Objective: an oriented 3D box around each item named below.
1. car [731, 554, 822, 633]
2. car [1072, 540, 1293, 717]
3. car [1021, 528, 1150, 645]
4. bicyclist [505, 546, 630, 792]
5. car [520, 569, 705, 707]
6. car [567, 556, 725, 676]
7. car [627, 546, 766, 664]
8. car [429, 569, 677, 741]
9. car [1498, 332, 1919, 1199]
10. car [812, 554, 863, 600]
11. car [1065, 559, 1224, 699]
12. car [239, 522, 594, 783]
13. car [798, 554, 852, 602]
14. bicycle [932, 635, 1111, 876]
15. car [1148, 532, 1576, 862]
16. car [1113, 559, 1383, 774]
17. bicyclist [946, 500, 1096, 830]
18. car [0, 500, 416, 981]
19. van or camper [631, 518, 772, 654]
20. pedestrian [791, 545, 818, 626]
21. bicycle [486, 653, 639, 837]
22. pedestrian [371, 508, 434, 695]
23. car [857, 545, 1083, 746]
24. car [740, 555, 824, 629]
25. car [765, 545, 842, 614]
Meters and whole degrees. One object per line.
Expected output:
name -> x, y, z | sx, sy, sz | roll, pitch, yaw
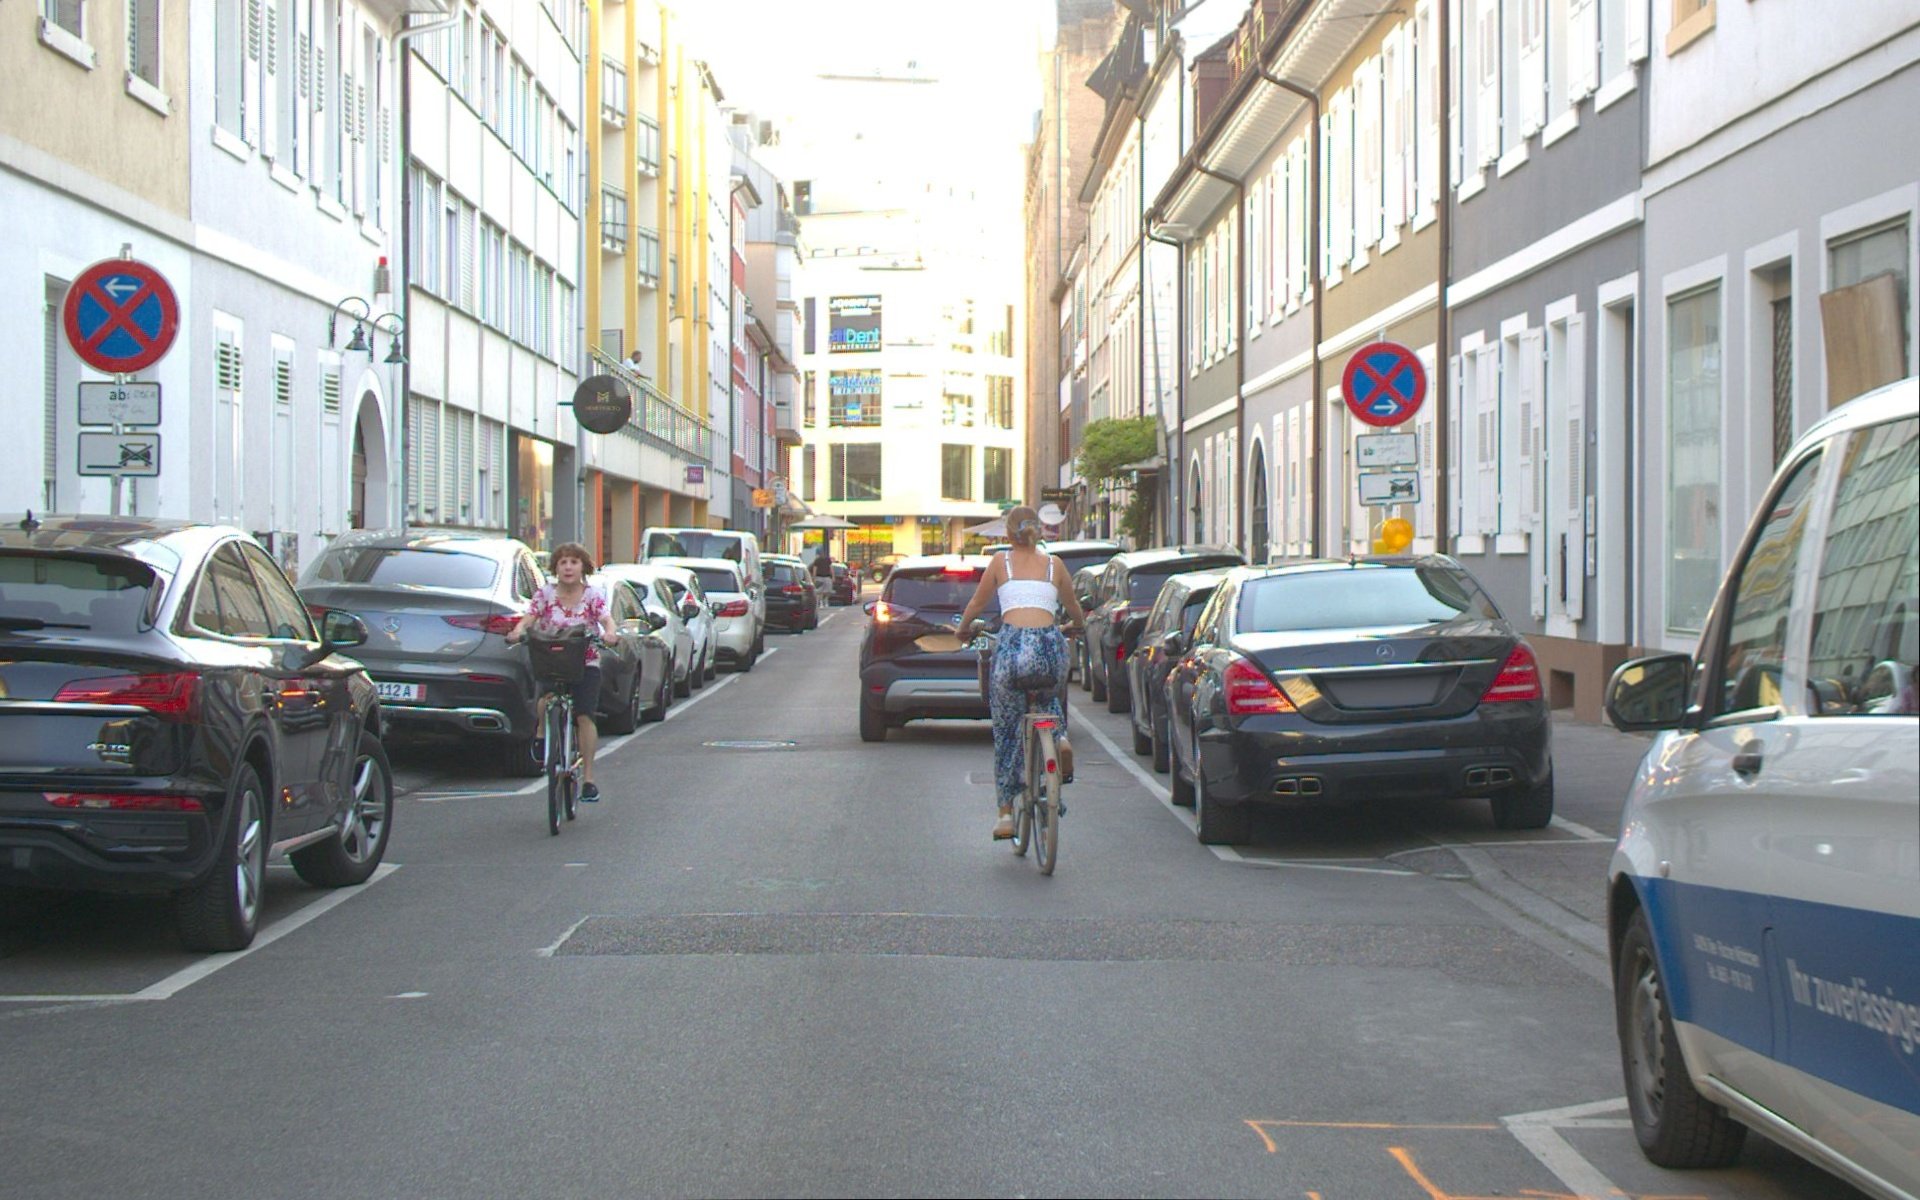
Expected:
car -> -3.754, -0.152, 70.832 | 1.653, 1.555, 3.606 | 1, 1, 0
car -> 2.296, 0.259, 36.512 | 1.918, 1.732, 4.153 | 1, 1, -2
car -> 1.747, -0.206, 48.850 | 1.653, 1.555, 3.606 | 1, 1, 0
bicyclist -> -2.217, 0.383, 19.462 | 0.606, 1.365, 0.621 | 1, 0, 2
car -> -3.811, 0.380, 38.236 | 1.653, 1.406, 3.902 | 1, 1, 0
car -> -3.913, 0.175, 43.325 | 1.653, 1.406, 3.606 | 1, 1, 0
car -> -3.666, 0.040, 48.304 | 1.653, 1.555, 3.606 | 1, 1, 0
car -> -3.705, 0.456, 31.956 | 1.918, 1.429, 4.294 | 1, 1, -2
car -> 2.491, 0.460, 6.513 | 1.941, 1.888, 5.317 | -3, 1, -1
car -> -4.367, -0.834, 122.974 | 1.653, 1.555, 3.606 | 1, 1, 0
car -> 2.170, 0.312, 41.266 | 1.653, 1.555, 3.606 | 1, 1, 0
car -> -3.884, 0.323, 25.308 | 1.997, 1.701, 4.536 | 1, 1, -2
car -> -4.555, -0.763, 116.203 | 1.653, 1.555, 3.606 | 1, 1, 0
bicycle -> 0.277, 0.730, 16.828 | 0.613, 1.078, 1.810 | 1, 1, -7
car -> 2.120, 0.453, 19.478 | 1.819, 1.525, 5.071 | -3, 1, 1
car -> 2.133, 0.448, 26.413 | 1.676, 1.481, 4.000 | 1, 1, 0
bicyclist -> 0.290, 0.309, 16.740 | 0.620, 1.569, 0.684 | 1, 0, -7
car -> -3.538, 0.460, 14.210 | 1.803, 1.671, 4.490 | 0, 1, 1
van or camper -> -4.017, -0.238, 54.069 | 1.844, 2.006, 4.678 | 1, 1, 0
pedestrian -> -3.383, -0.310, 74.789 | 0.554, 1.746, 0.568 | 1, 0, -3
bicycle -> -2.219, 0.791, 19.367 | 0.613, 0.929, 1.886 | 1, 1, 1
pedestrian -> -6.012, 0.014, 37.073 | 0.610, 2.007, 0.450 | 1, 0, -3
car -> 0.049, 0.352, 30.288 | 1.819, 1.612, 4.000 | 1, 1, -1
car -> -3.912, -0.189, 76.137 | 1.653, 1.555, 3.606 | 1, 1, 0
car -> -3.704, -0.504, 81.828 | 1.653, 1.555, 3.606 | 1, 1, 0
